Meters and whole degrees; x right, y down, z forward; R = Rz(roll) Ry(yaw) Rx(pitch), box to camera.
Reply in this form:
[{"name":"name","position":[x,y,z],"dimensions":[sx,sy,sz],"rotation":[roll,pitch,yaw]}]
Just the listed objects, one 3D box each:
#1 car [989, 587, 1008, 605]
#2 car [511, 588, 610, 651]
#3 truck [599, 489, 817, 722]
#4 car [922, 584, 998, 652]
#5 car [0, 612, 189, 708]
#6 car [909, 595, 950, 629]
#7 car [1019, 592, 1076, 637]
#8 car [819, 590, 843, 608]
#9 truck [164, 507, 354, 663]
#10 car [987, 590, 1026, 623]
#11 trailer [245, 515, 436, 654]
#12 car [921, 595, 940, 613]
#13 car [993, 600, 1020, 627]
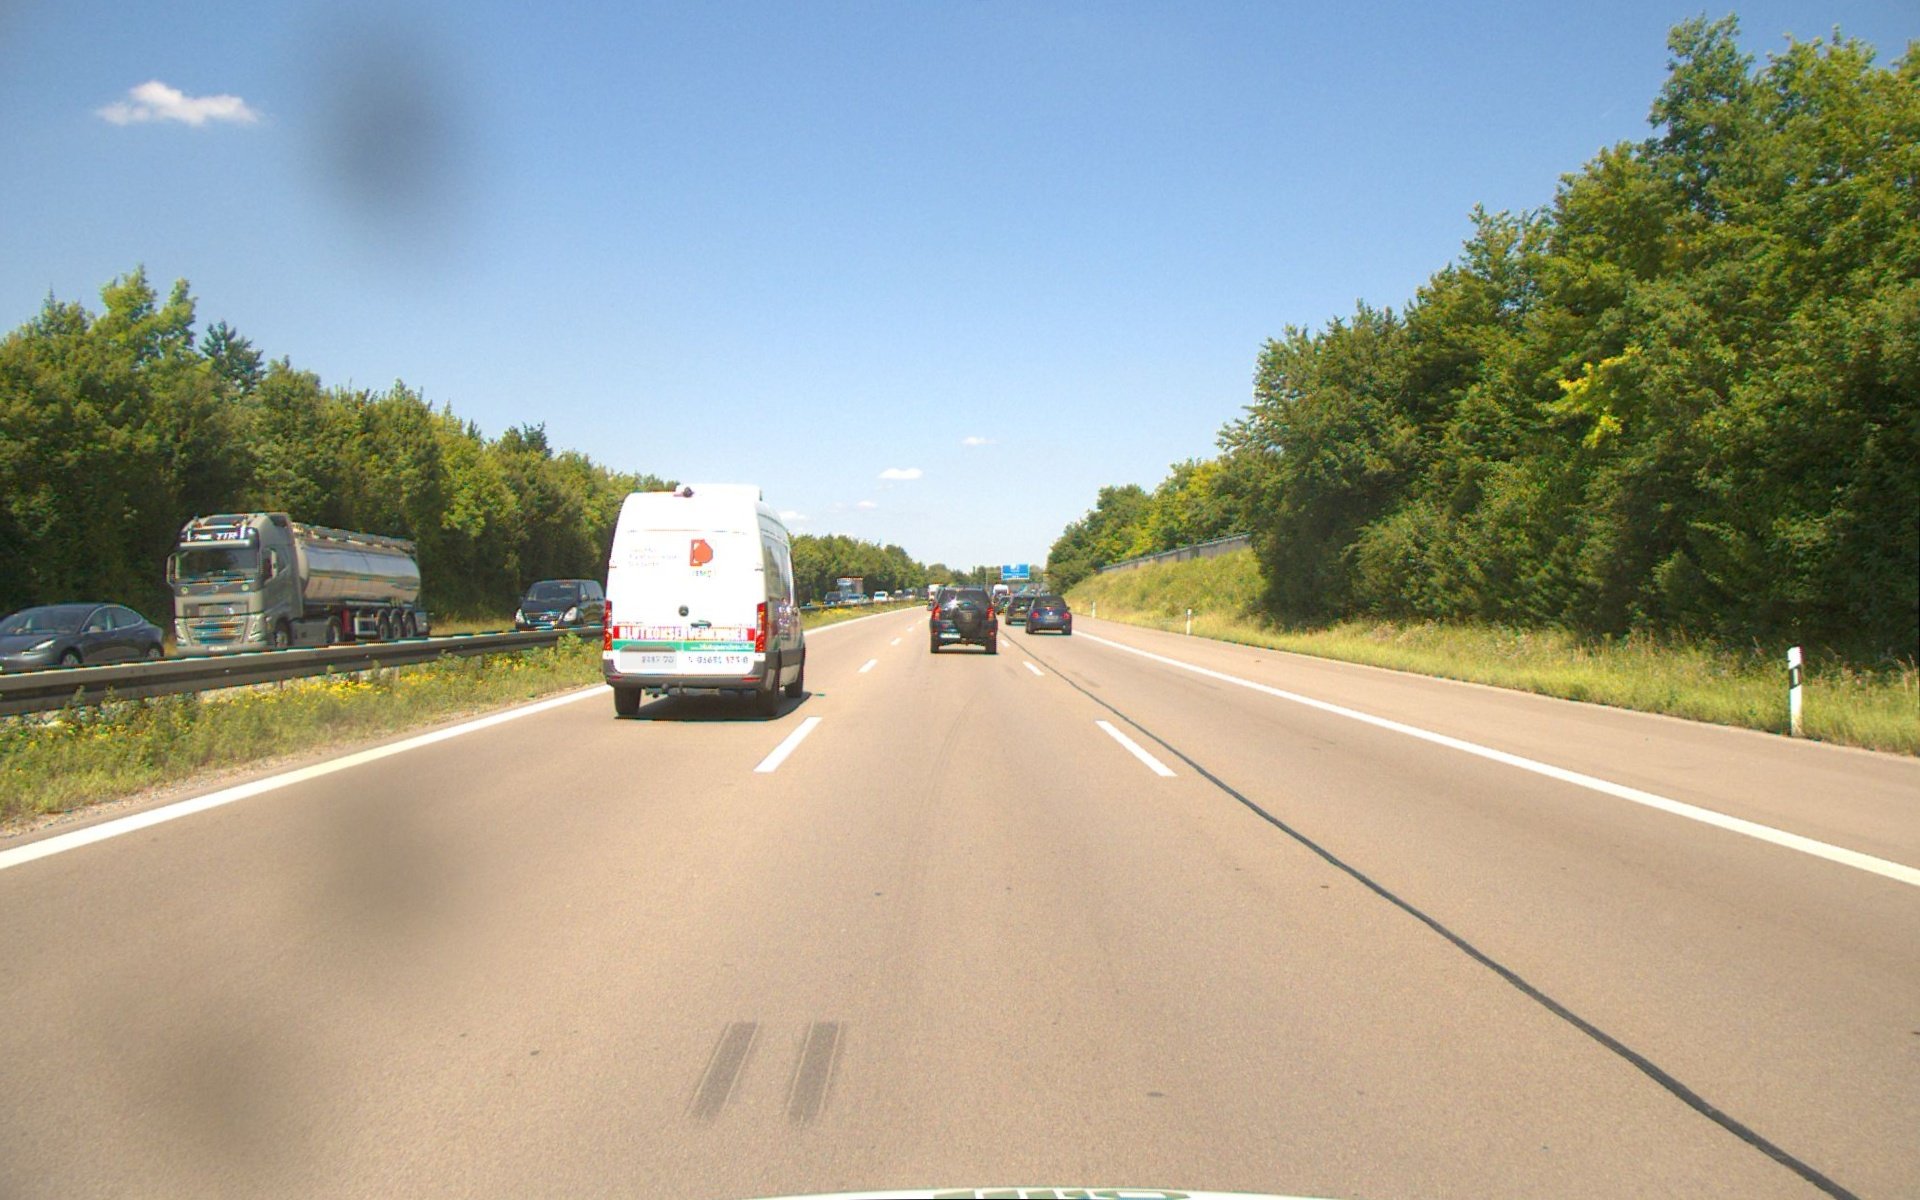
[{"name":"car","position":[4.484,-0.531,193.181],"dimensions":[1.954,2.049,4.765],"rotation":[-1,0,-3]},{"name":"car","position":[-12.242,0.561,51.005],"dimensions":[1.868,1.820,5.058],"rotation":[-1,0,-1]},{"name":"truck","position":[-3.140,0.042,22.039],"dimensions":[1.953,2.587,6.690],"rotation":[1,0,-1]},{"name":"car","position":[-0.046,0.473,43.663],"dimensions":[1.868,1.694,3.998],"rotation":[0,-1,-2]},{"name":"car","position":[-15.154,0.956,28.120],"dimensions":[1.868,1.440,4.890],"rotation":[-1,0,-1]},{"name":"car","position":[-1.615,0.633,88.927],"dimensions":[1.952,1.735,4.337],"rotation":[-1,0,2]},{"name":"car","position":[3.437,0.586,65.628],"dimensions":[1.953,1.713,3.998],"rotation":[0,-1,-2]},{"name":"car","position":[-12.137,-0.075,156.338],"dimensions":[1.953,1.694,4.473],"rotation":[-1,0,-1]},{"name":"truck","position":[-19.460,-0.414,46.365],"dimensions":[2.677,3.949,6.319],"rotation":[-3,0,-2]},{"name":"car","position":[2.369,0.361,85.900],"dimensions":[1.805,1.640,3.998],"rotation":[0,-1,-2]},{"name":"trailer","position":[-19.687,-0.462,53.311],"dimensions":[2.710,3.949,9.453],"rotation":[-3,0,-2]},{"name":"car","position":[-3.630,0.462,202.788],"dimensions":[1.952,2.049,4.951],"rotation":[-1,0,3]},{"name":"car","position":[3.568,1.024,127.403],"dimensions":[1.953,2.049,3.999],"rotation":[0,-1,-1]}]
